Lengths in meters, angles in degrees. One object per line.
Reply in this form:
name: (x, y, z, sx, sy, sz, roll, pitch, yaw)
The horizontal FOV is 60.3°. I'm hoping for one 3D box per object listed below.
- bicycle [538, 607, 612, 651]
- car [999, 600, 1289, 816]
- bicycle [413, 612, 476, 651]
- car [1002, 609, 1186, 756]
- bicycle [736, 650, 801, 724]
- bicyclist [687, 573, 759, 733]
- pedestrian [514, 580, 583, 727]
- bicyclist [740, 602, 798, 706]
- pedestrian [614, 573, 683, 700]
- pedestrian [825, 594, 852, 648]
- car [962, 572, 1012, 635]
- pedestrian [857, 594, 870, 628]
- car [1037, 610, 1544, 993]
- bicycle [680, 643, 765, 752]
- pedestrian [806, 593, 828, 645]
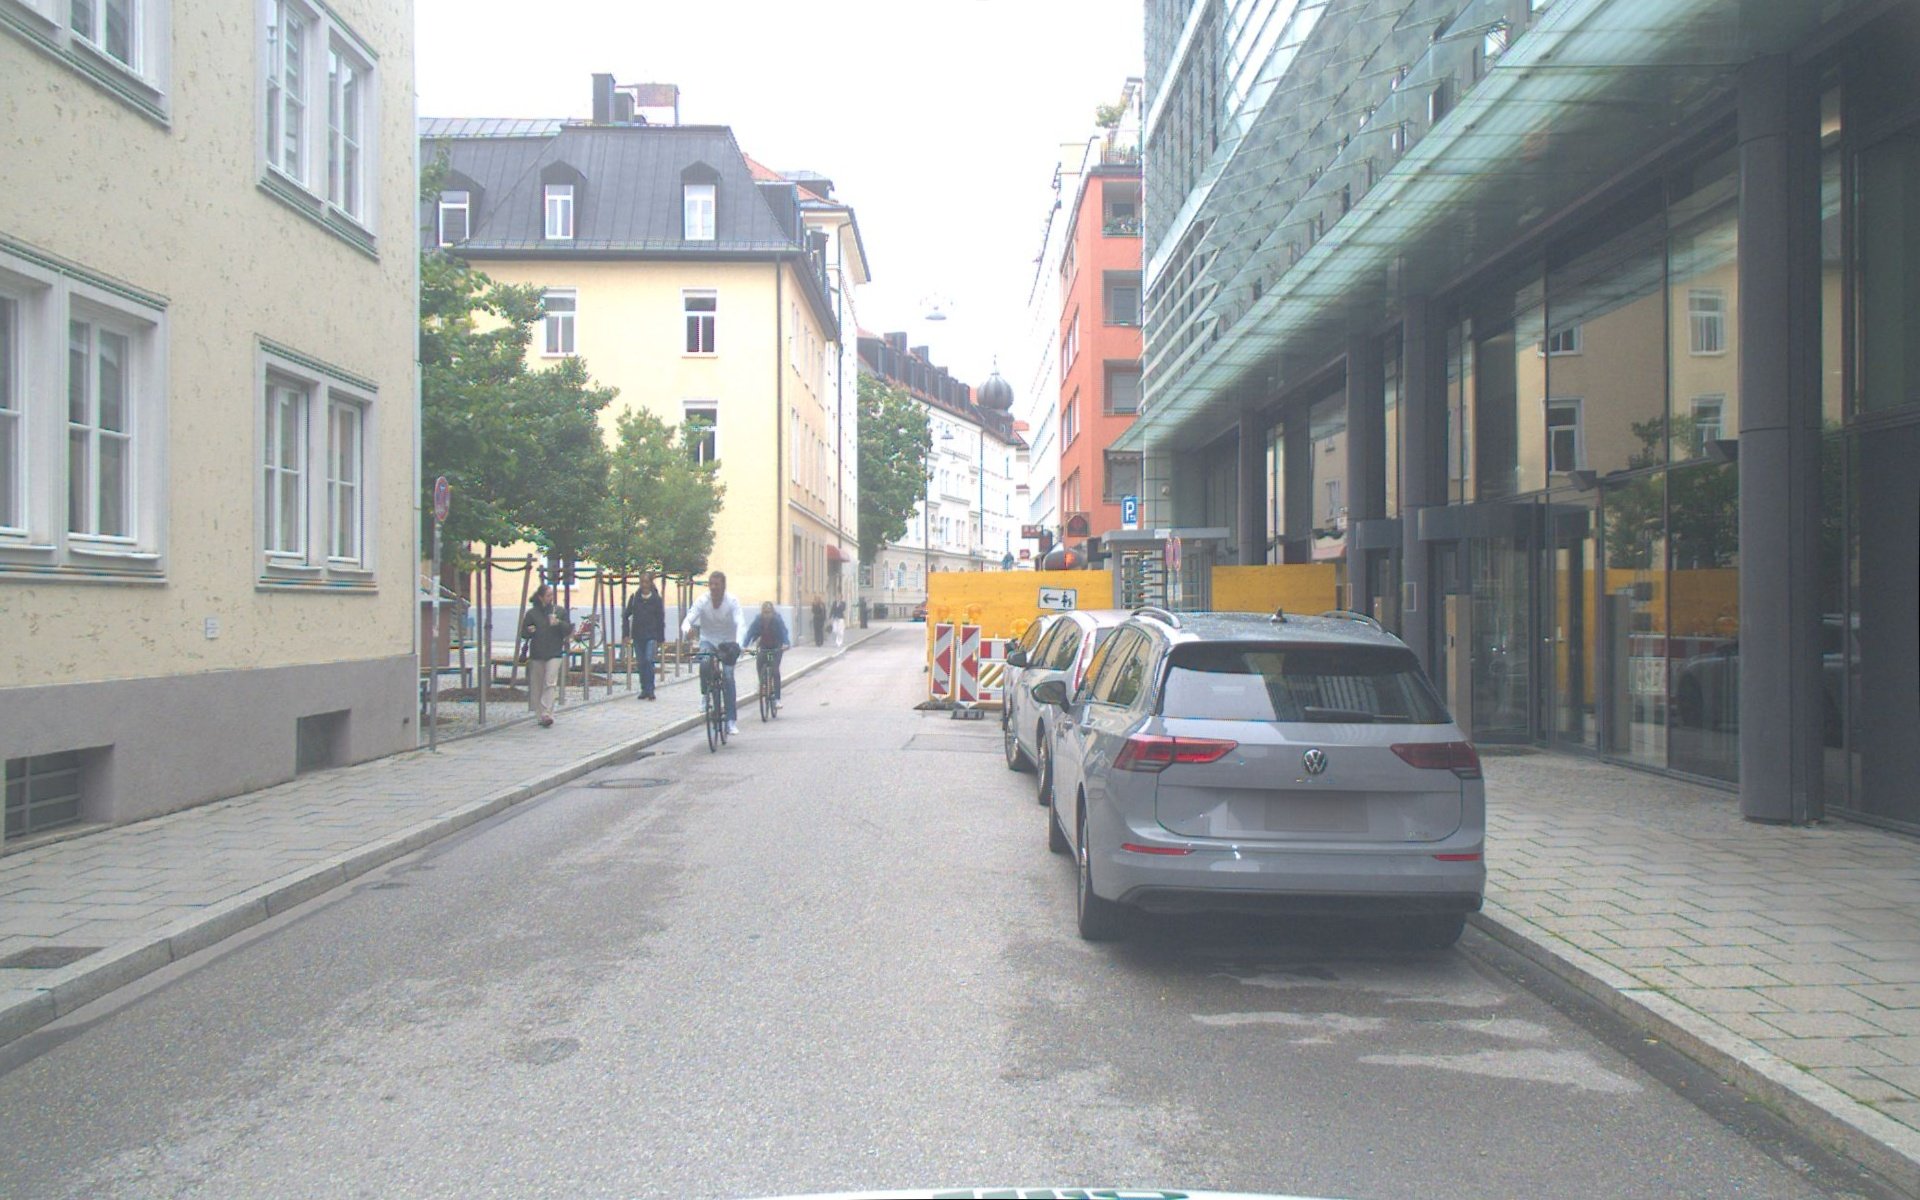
bicycle: (-11.131, 0.832, 47.833, 2.000, 1.218, 0.570, 0, 0, 6)
car: (1.355, 0.782, 13.809, 1.674, 1.493, 4.234, 1, -1, -4)
bicycle: (-14.800, 0.900, 47.511, 1.621, 1.088, 0.598, 1, 0, 3)
car: (1.411, 0.853, 18.968, 1.673, 1.439, 4.508, 1, -1, -1)
bicycle: (-2.613, 1.171, 22.684, 0.693, 0.921, 1.809, -1, 0, -1)
bicyclist: (-2.551, 0.560, 17.863, 0.646, 1.672, 0.895, -1, 0, -1)
pedestrian: (-4.847, 0.622, 19.521, 0.634, 1.706, 0.723, 1, -1, -2)
bicyclist: (-2.616, 0.725, 22.680, 0.693, 1.395, 0.813, -1, 0, -1)
pedestrian: (-4.814, 0.557, 25.604, 0.850, 1.914, 1.134, 1, -1, -2)
pedestrian: (-3.948, 0.674, 53.796, 0.822, 1.730, 0.803, 1, -1, -1)
car: (1.136, 0.155, 71.094, 1.953, 2.581, 4.974, 1, 0, -1)
pedestrian: (-4.880, 0.534, 83.760, 0.621, 1.704, 0.517, 0, 0, -1)
car: (1.374, 0.782, 8.515, 1.673, 1.457, 4.328, 0, 0, -1)
bicycle: (-2.545, 1.026, 17.918, 0.648, 1.057, 2.004, -1, 0, -1)
pedestrian: (-4.681, 0.632, 54.158, 0.656, 1.677, 0.761, 1, -1, -1)
